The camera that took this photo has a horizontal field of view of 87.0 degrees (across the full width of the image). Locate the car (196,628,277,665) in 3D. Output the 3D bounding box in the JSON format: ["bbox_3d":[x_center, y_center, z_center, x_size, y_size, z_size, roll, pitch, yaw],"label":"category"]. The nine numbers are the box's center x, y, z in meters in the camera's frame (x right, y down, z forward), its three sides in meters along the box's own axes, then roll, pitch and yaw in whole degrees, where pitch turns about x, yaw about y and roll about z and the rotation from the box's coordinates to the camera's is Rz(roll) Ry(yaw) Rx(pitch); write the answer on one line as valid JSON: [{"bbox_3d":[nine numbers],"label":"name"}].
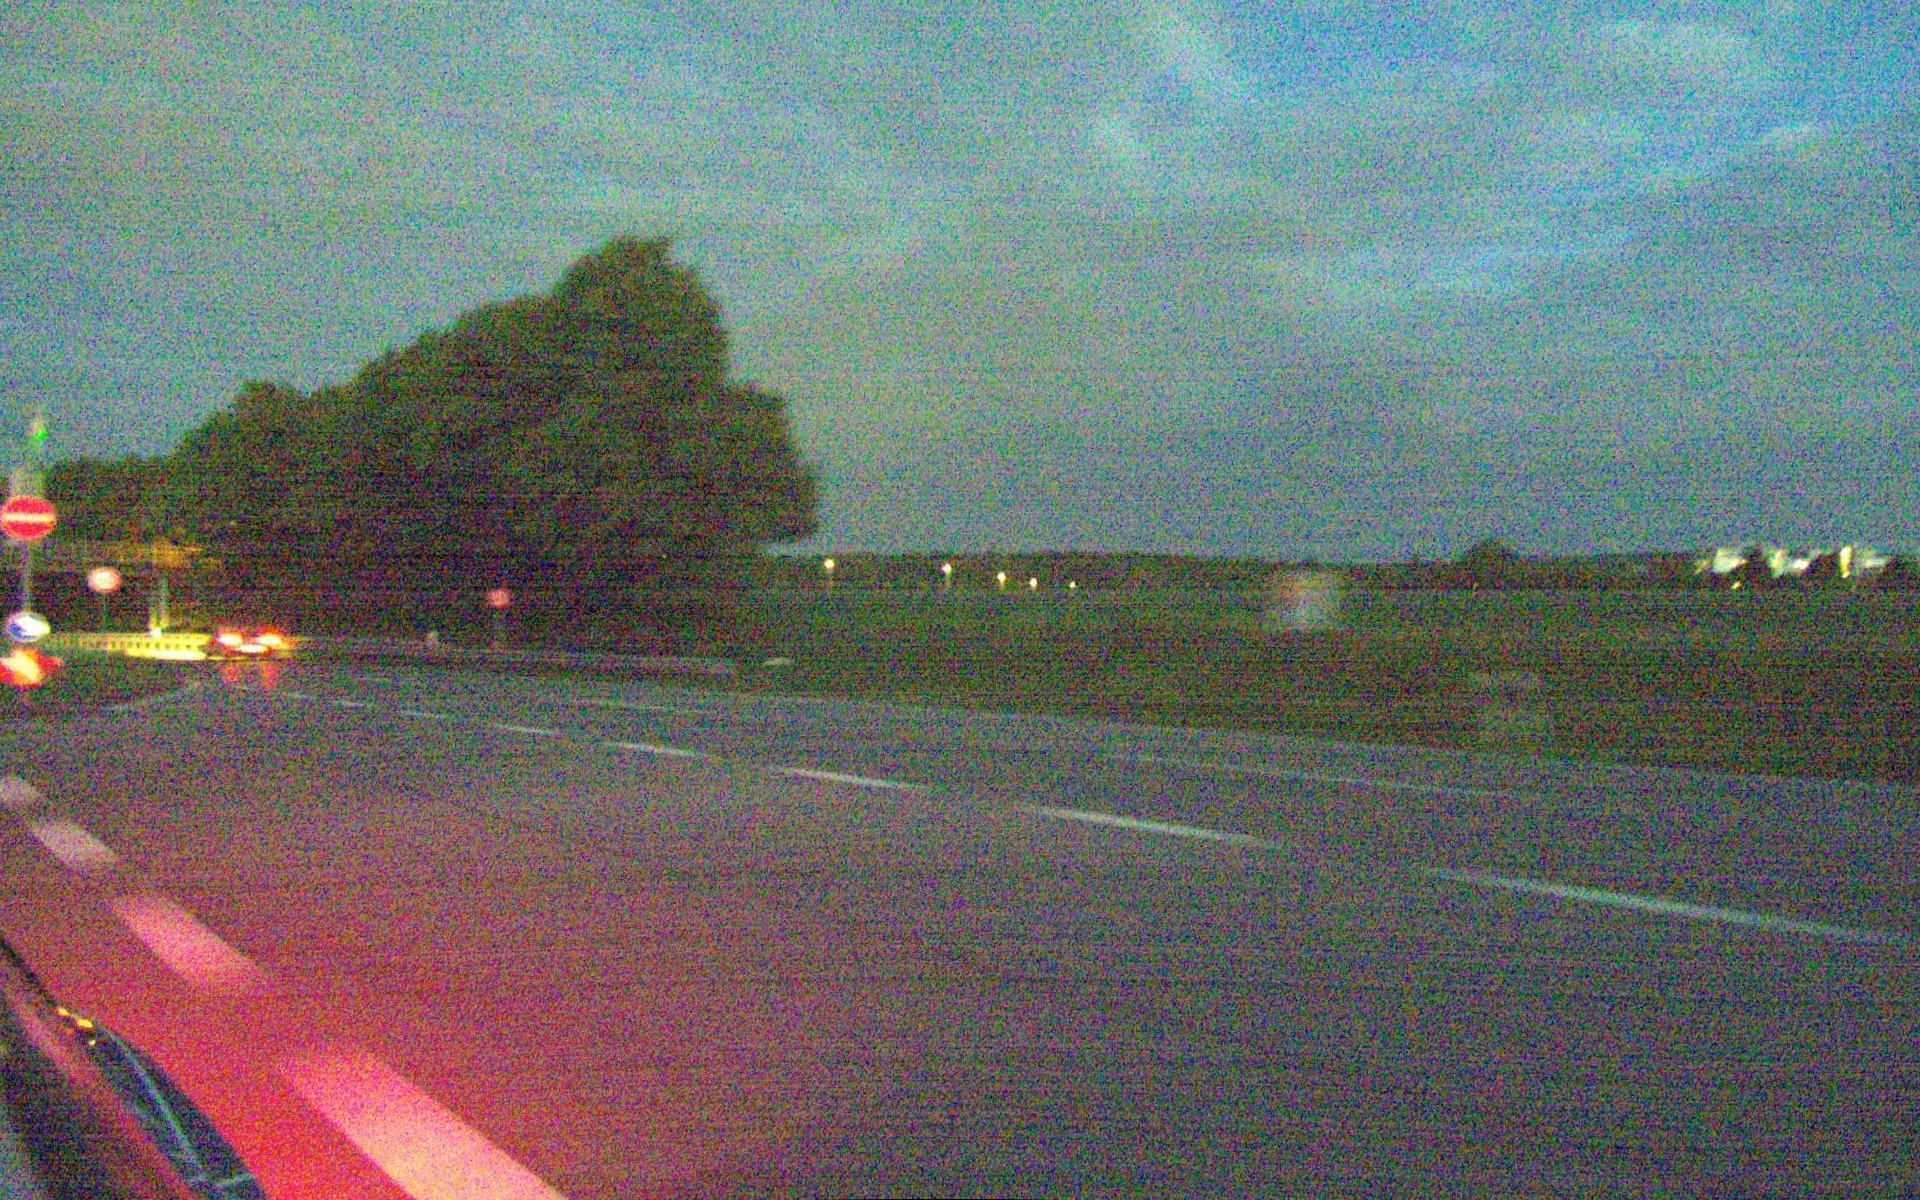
[{"bbox_3d":[-28.146,1.794,39.339,3.936,1.340,1.589,-1,-3,40],"label":"car"}]
